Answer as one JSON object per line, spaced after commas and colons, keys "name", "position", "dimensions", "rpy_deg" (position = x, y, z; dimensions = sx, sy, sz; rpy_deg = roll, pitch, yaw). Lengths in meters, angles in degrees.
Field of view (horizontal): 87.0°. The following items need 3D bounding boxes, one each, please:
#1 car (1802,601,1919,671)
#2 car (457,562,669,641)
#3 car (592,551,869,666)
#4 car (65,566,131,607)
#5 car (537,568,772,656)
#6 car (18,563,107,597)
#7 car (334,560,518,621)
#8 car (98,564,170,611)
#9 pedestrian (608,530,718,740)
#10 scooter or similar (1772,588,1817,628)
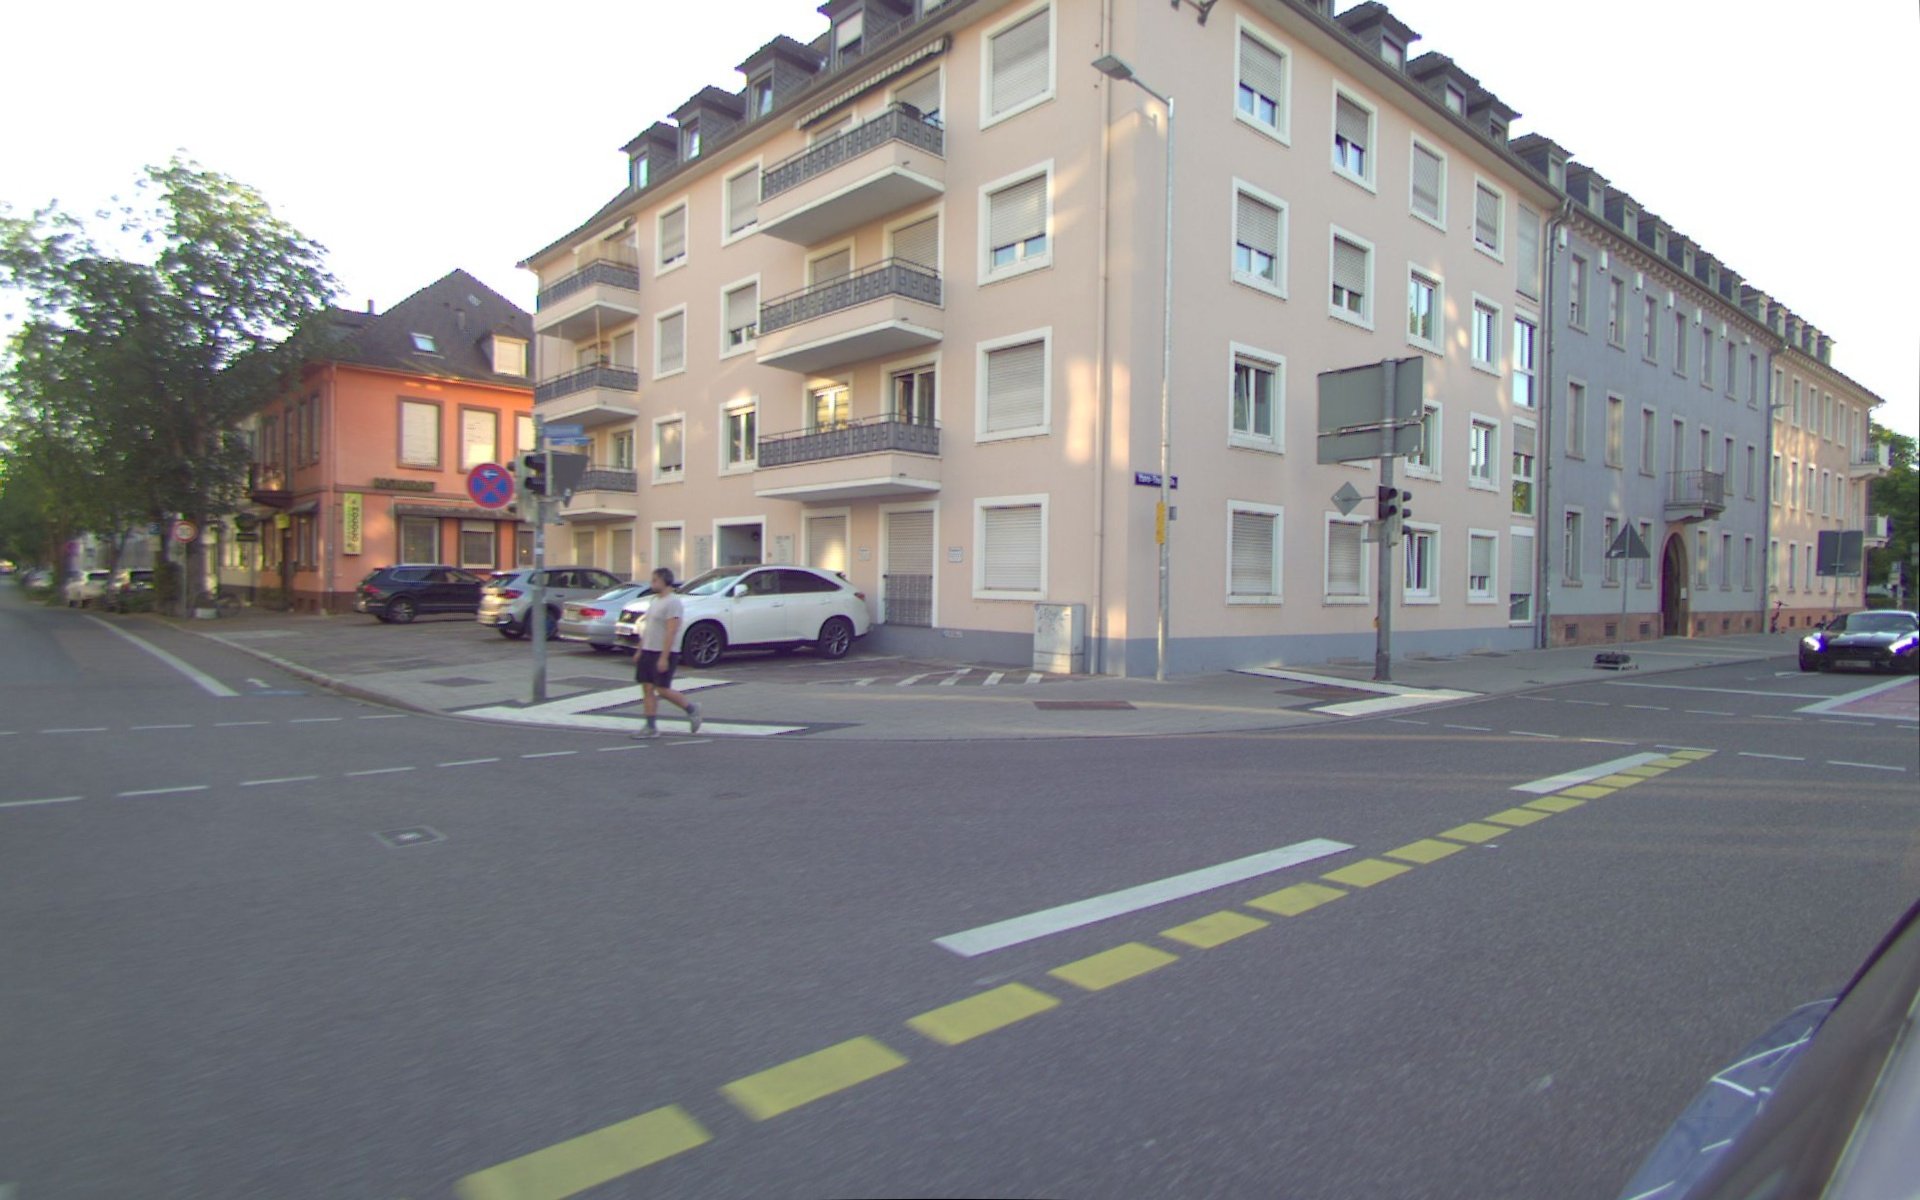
{"name": "car", "position": [19.621, 0.691, 21.295], "dimensions": [4.280, 1.317, 2.182], "rpy_deg": [-1, -1, -40]}
{"name": "car", "position": [-8.916, -0.036, 22.891], "dimensions": [3.990, 1.565, 2.007], "rpy_deg": [-3, 3, -44]}
{"name": "car", "position": [-3.946, 0.091, 17.901], "dimensions": [4.401, 1.771, 1.995], "rpy_deg": [-1, 1, -44]}
{"name": "car", "position": [-39.849, -0.665, 46.758], "dimensions": [3.898, 1.816, 1.968], "rpy_deg": [2, 2, 45]}
{"name": "car", "position": [-5.866, 0.177, 19.699], "dimensions": [3.962, 1.532, 1.921], "rpy_deg": [-1, 1, -44]}
{"name": "car", "position": [-54.520, -1.224, 61.593], "dimensions": [3.927, 2.039, 1.999], "rpy_deg": [-1, 1, -38]}
{"name": "car", "position": [-15.767, -0.339, 30.030], "dimensions": [4.448, 1.616, 2.007], "rpy_deg": [-3, 3, -44]}
{"name": "car", "position": [-33.395, -0.525, 40.886], "dimensions": [1.967, 1.816, 3.900], "rpy_deg": [-1, 1, -44]}
{"name": "pedestrian", "position": [-3.049, 0.334, 10.364], "dimensions": [0.974, 2.039, 0.789], "rpy_deg": [0, 0, -25]}
{"name": "scooter or similar", "position": [31.854, 0.301, 38.614], "dimensions": [1.638, 1.476, 0.729], "rpy_deg": [0, 3, -30]}
